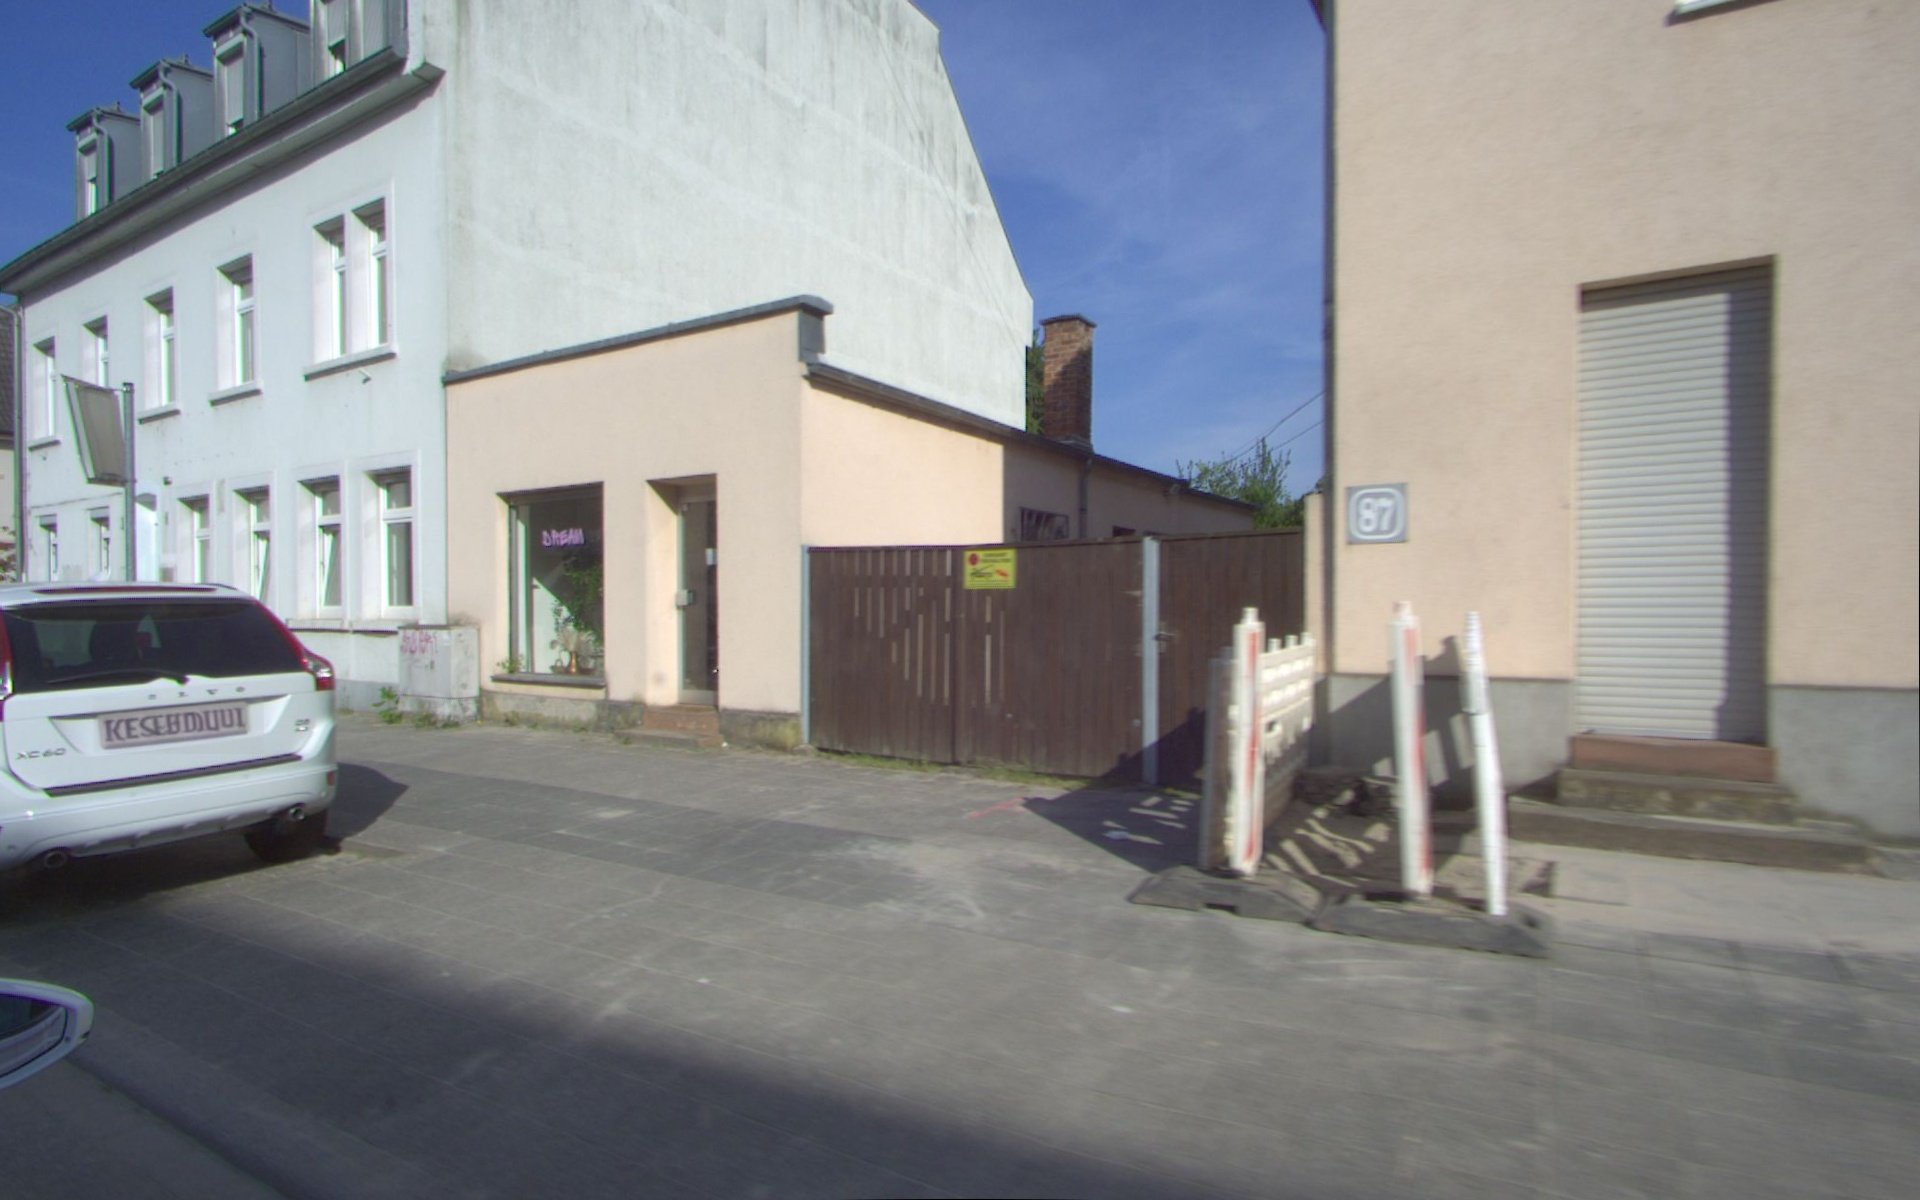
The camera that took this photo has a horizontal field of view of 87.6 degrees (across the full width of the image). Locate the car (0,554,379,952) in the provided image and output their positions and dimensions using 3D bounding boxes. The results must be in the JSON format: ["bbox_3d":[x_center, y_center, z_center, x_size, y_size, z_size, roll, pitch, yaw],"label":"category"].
[{"bbox_3d":[-5.650,0.645,6.028,4.411,1.707,1.808,0,2,32],"label":"car"}]

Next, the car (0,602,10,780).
[{"bbox_3d":[-10.676,0.837,9.269,4.547,1.549,1.586,-1,1,32],"label":"car"}]
